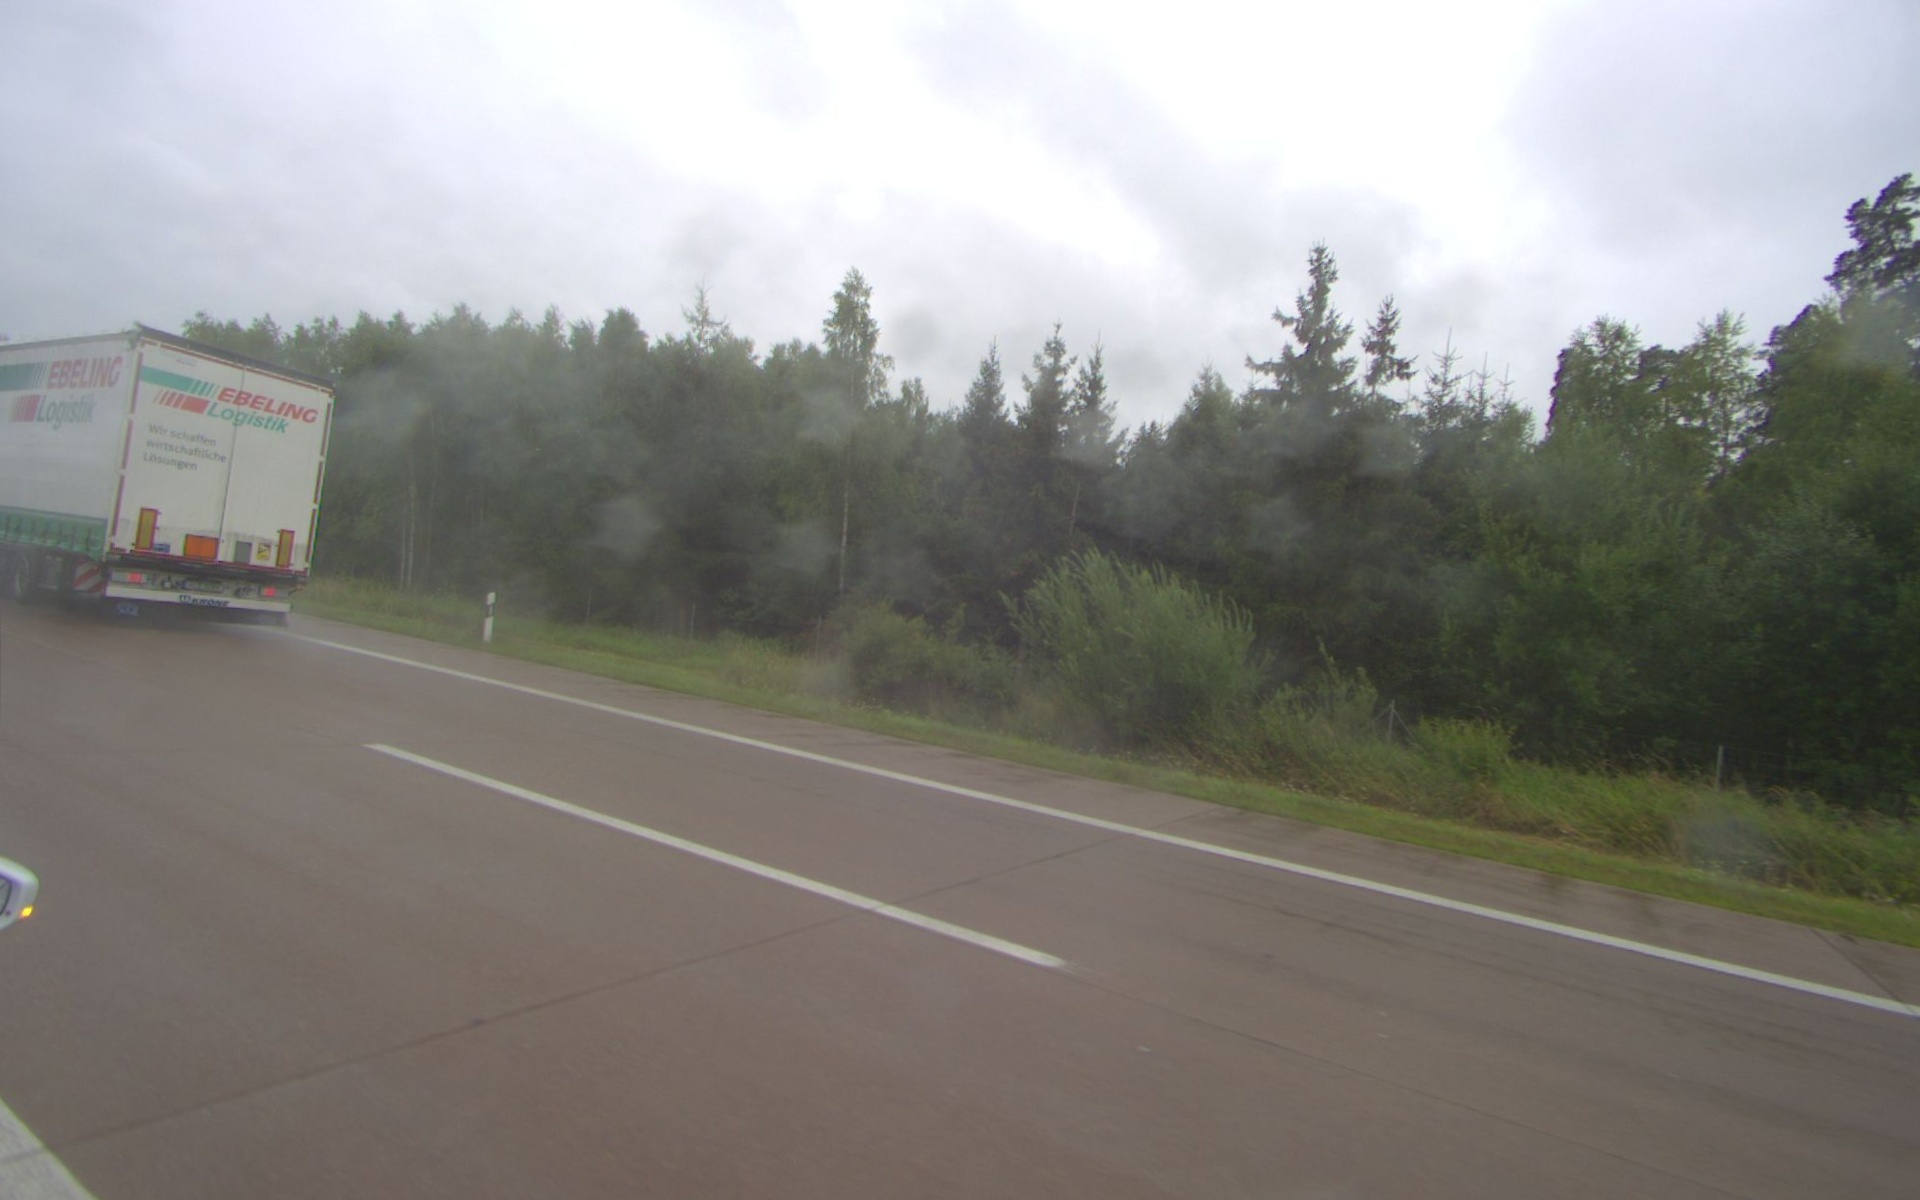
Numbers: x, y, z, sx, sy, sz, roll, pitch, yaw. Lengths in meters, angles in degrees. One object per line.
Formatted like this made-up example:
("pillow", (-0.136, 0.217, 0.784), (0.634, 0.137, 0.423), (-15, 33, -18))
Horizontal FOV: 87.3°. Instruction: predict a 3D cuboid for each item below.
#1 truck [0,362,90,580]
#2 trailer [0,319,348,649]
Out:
("truck", (-21.523, -2.892, 21.137), (6.243, 4.159, 2.883), (7, 1, 31))
("trailer", (-15.919, -2.139, 17.734), (12.911, 4.285, 2.855), (7, 1, 31))
